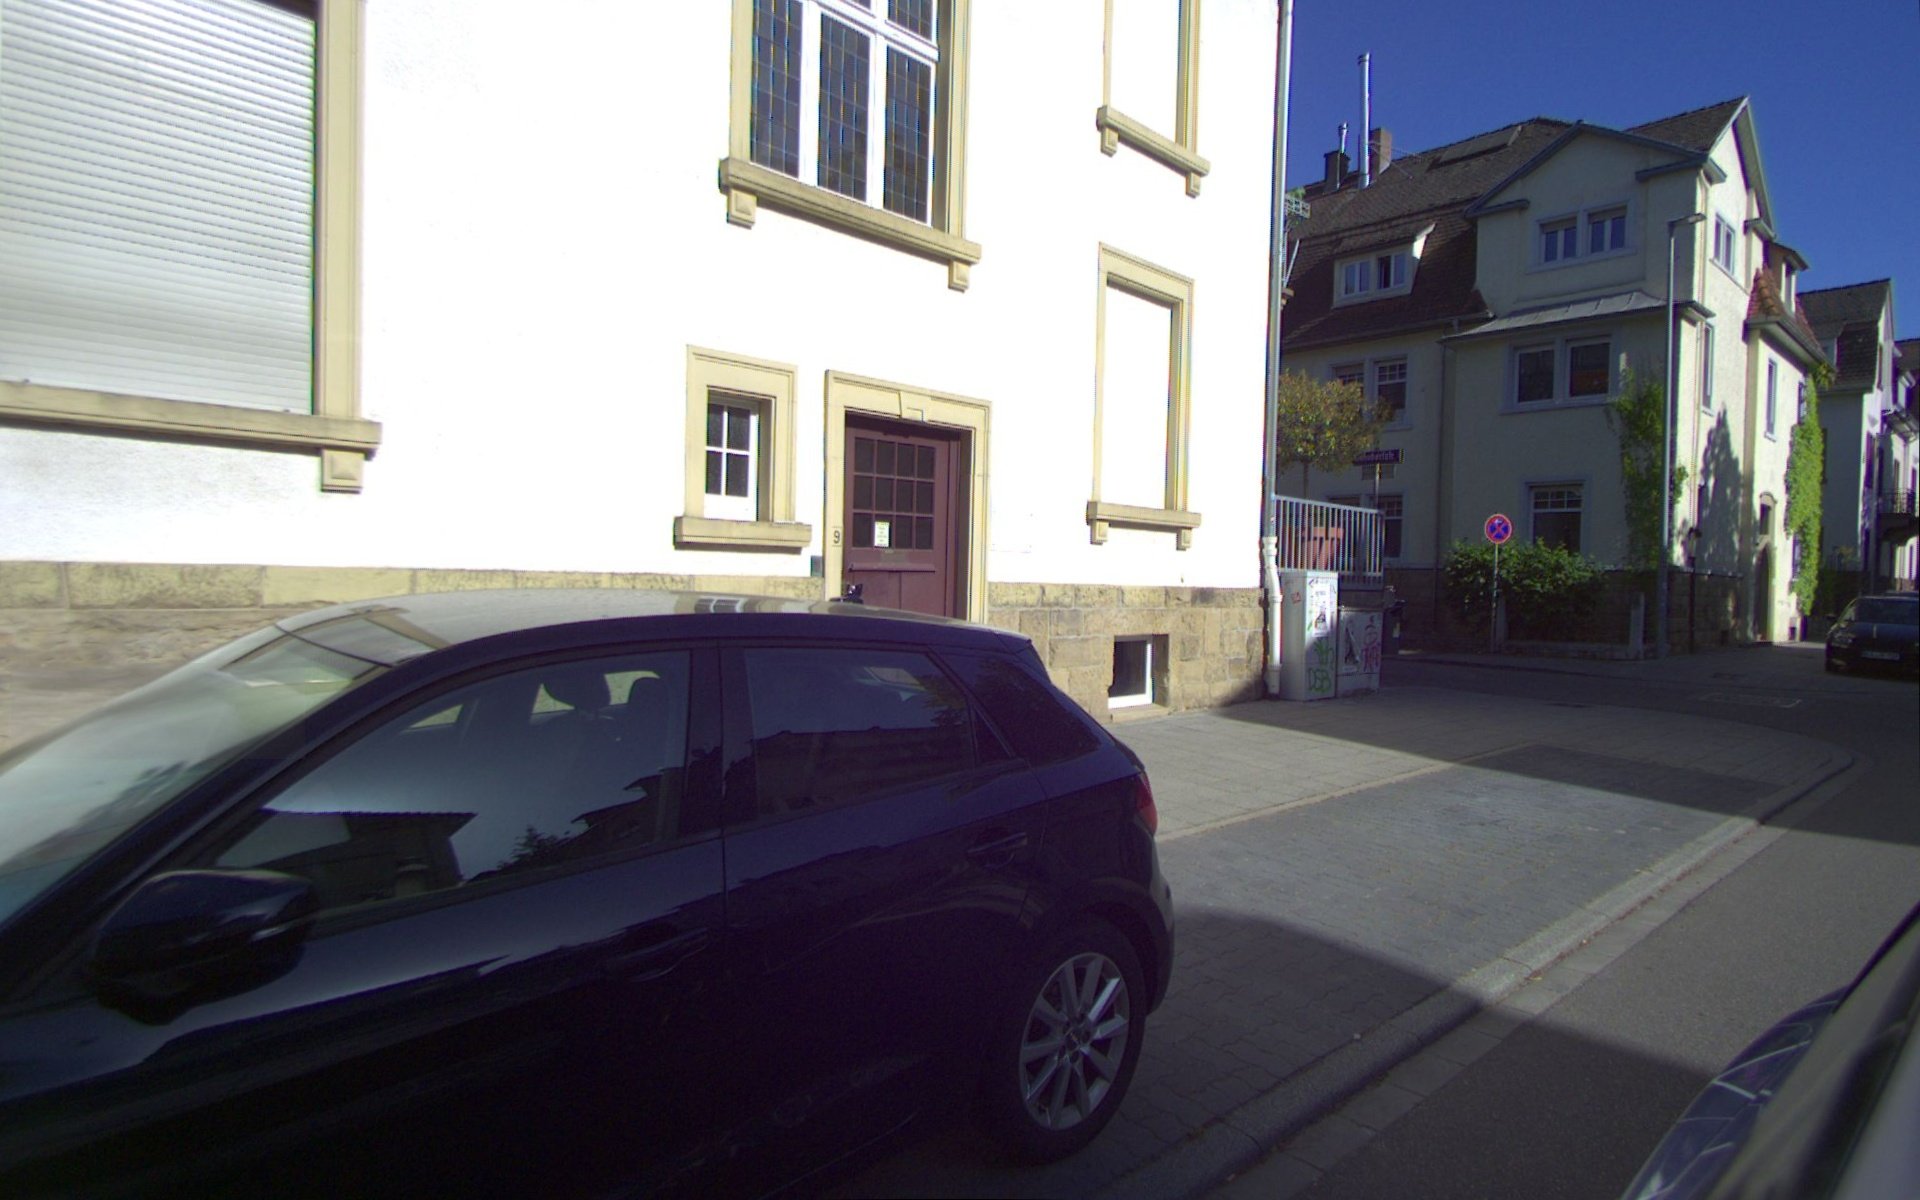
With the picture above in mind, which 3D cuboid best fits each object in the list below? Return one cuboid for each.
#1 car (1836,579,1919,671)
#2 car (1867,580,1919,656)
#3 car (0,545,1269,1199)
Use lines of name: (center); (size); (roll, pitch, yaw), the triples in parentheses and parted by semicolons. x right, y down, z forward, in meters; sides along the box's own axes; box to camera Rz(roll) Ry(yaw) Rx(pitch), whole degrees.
car: (17.982, 0.412, 19.226); (3.936, 1.538, 1.664); (-2, 3, -44)
car: (22.239, 0.371, 23.078); (4.292, 1.538, 1.795); (-2, 3, -41)
car: (-1.062, 0.645, 2.327); (3.868, 1.457, 1.622); (0, 3, -43)
